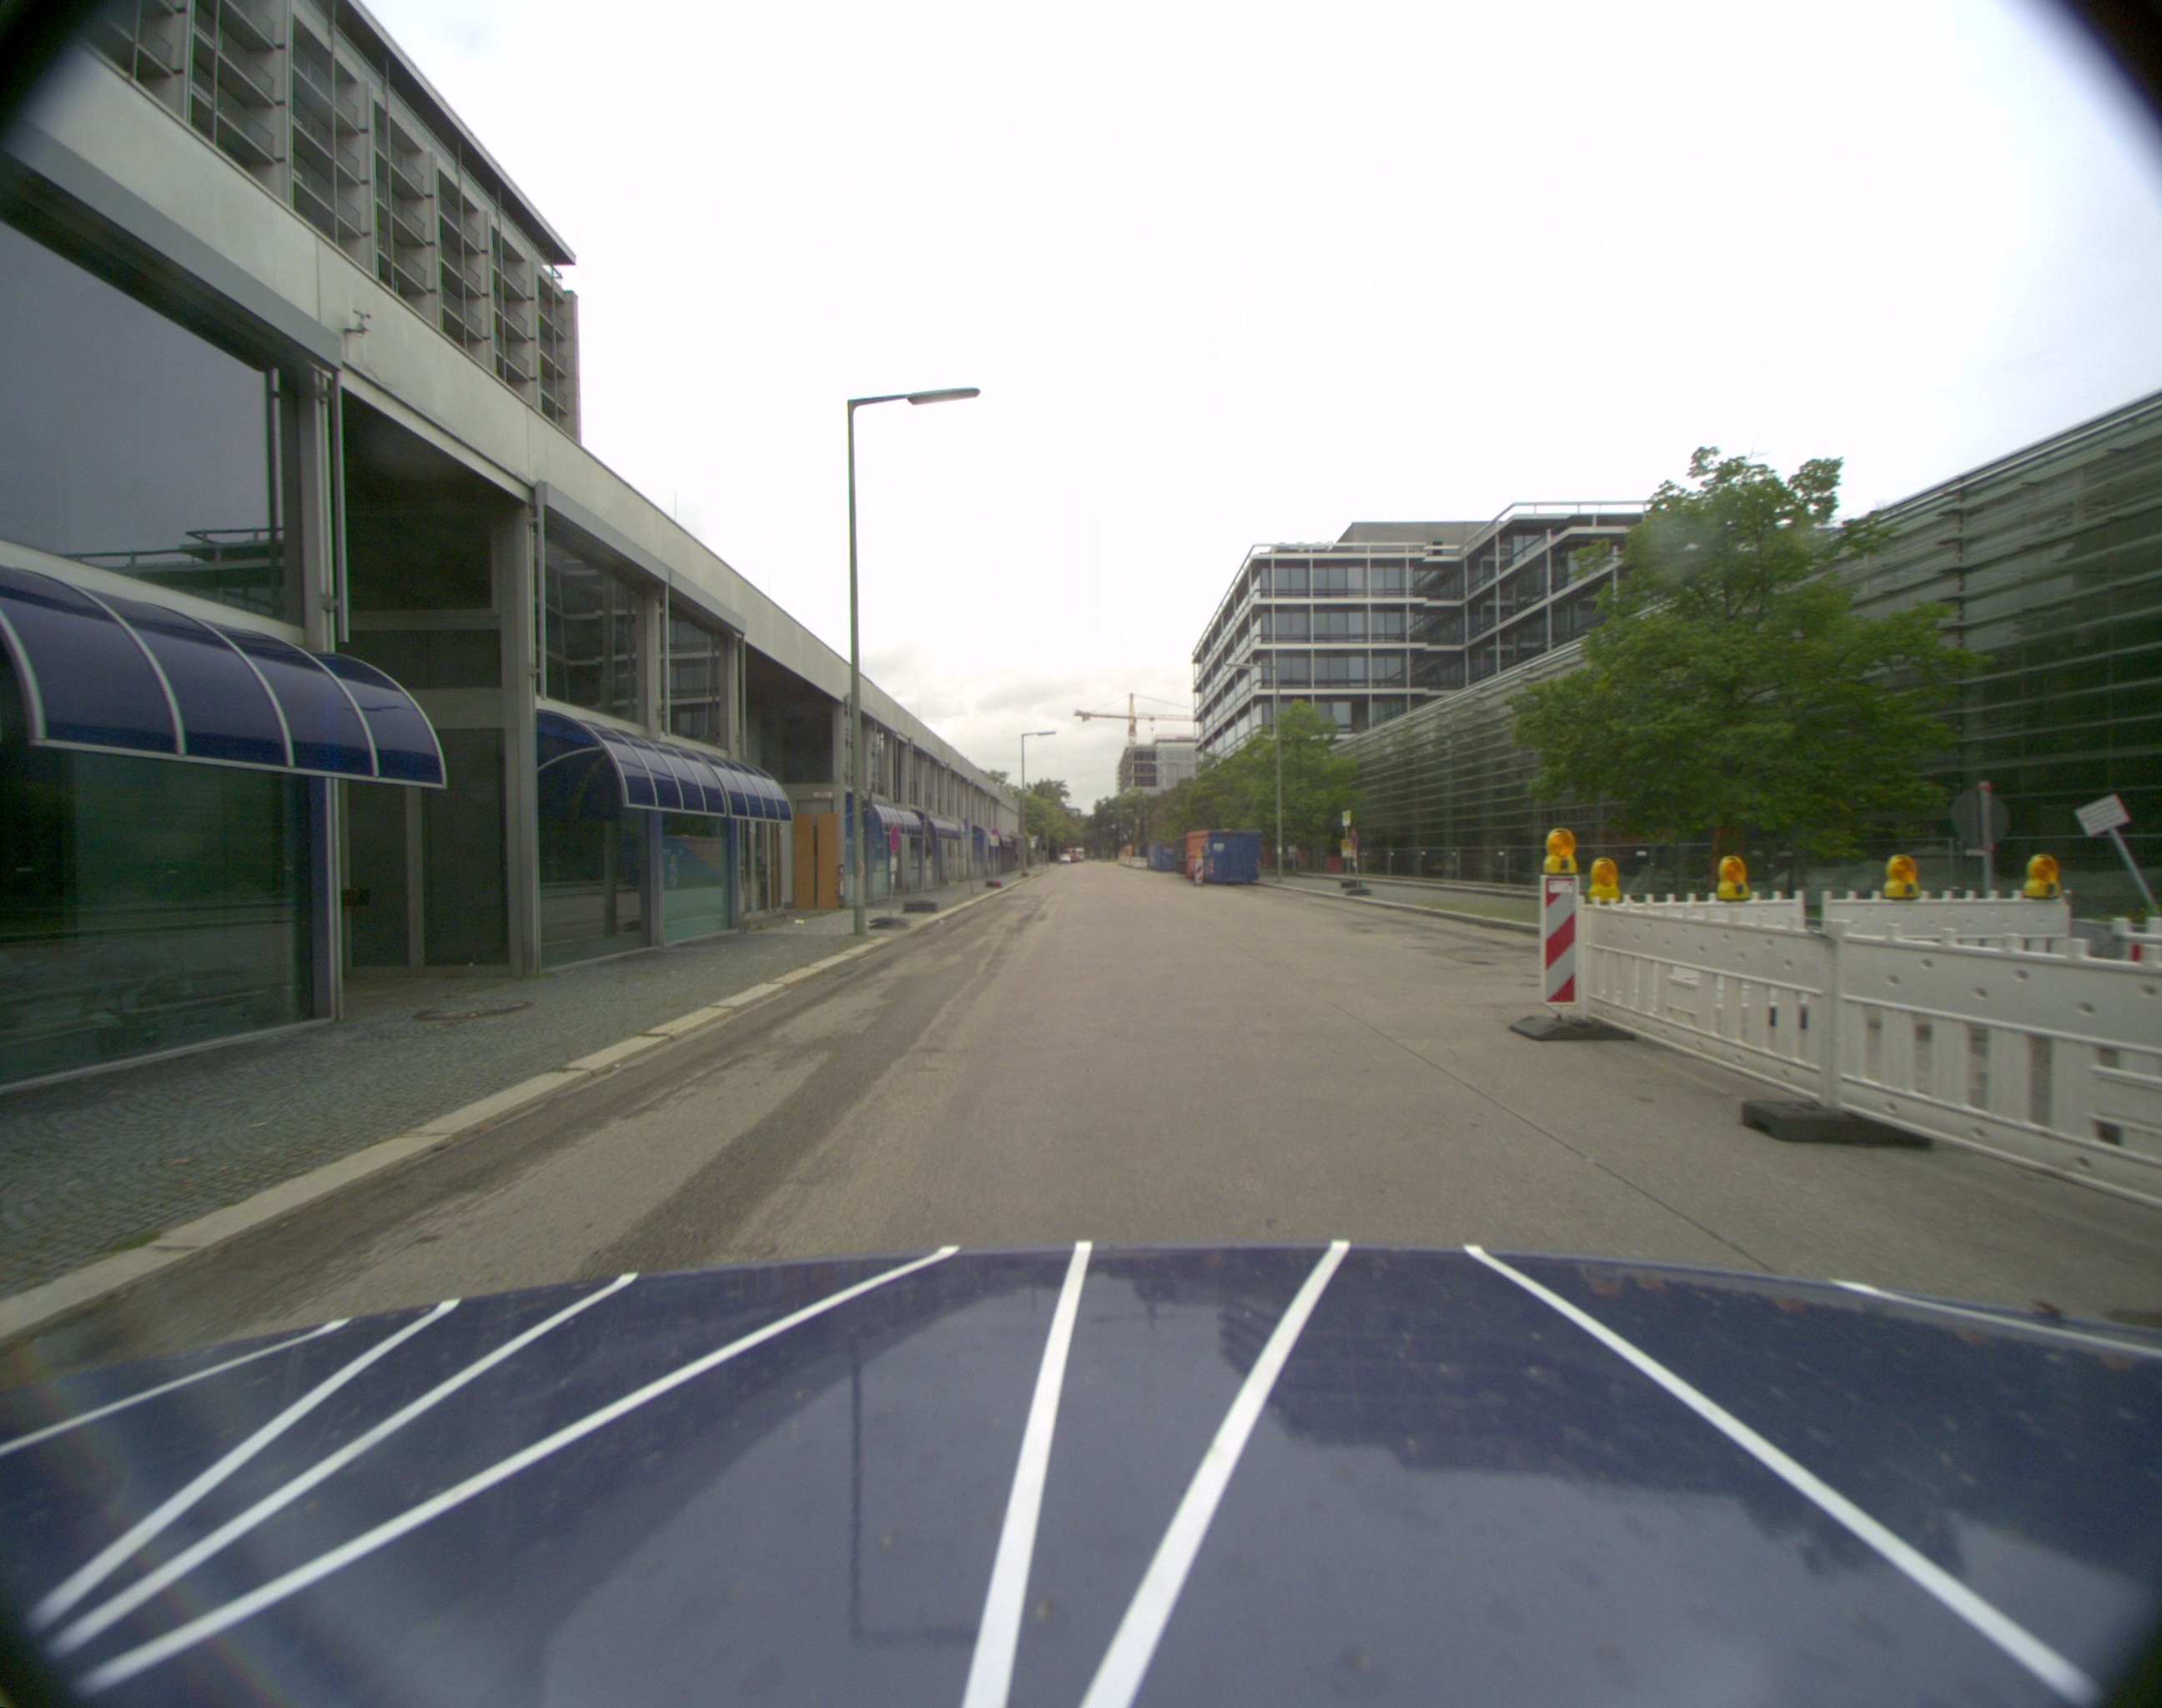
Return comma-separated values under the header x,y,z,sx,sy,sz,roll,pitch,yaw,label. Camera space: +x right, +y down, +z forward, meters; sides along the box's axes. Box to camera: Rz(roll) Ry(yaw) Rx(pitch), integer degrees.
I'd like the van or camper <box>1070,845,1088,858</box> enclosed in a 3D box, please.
x,y,z,sx,sy,sz,roll,pitch,yaw,label
-0.343,-0.534,148.808,2.666,2.436,6.447,-1,0,6,van or camper

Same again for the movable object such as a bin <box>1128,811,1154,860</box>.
x,y,z,sx,sy,sz,roll,pitch,yaw,label
7.998,-2.390,102.189,3.241,6.286,8.337,-1,1,3,movable object such as a bin

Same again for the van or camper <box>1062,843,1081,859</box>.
x,y,z,sx,sy,sz,roll,pitch,yaw,label
-1.640,-0.523,134.511,2.666,2.751,6.916,-1,0,4,van or camper

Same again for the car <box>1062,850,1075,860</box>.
x,y,z,sx,sy,sz,roll,pitch,yaw,label
-2.063,0.099,128.244,1.912,1.627,4.000,-1,0,2,car
